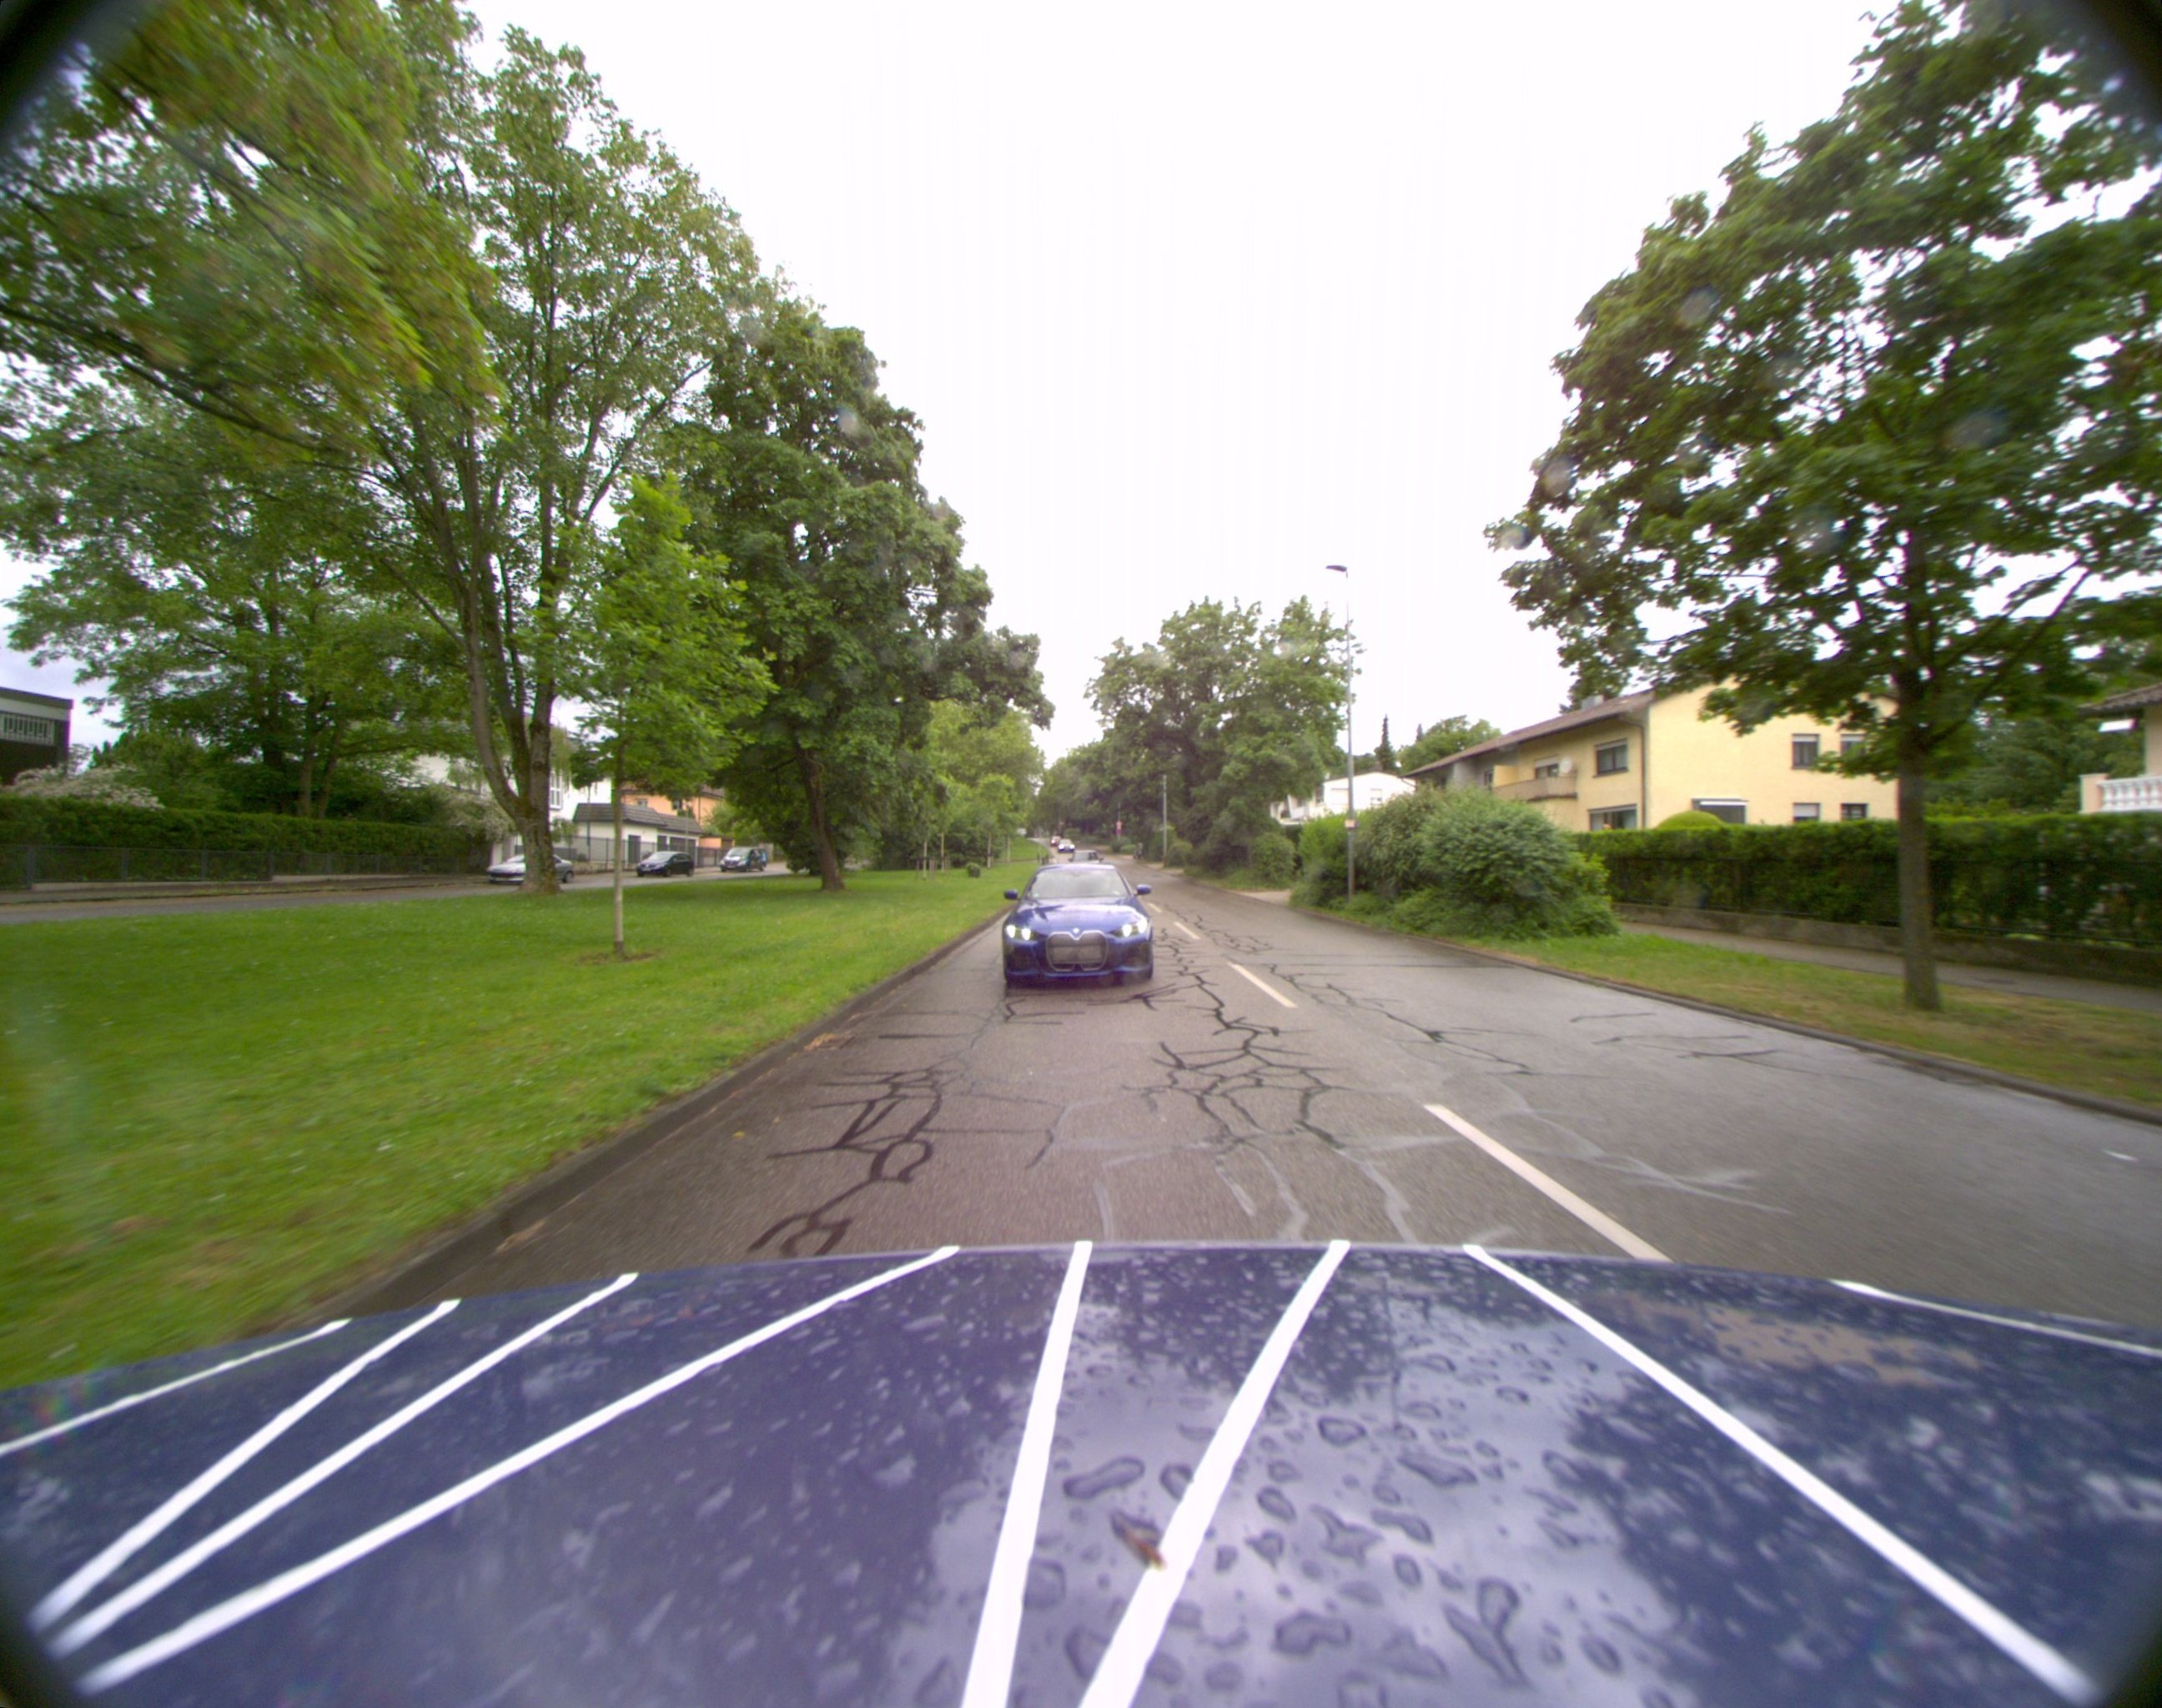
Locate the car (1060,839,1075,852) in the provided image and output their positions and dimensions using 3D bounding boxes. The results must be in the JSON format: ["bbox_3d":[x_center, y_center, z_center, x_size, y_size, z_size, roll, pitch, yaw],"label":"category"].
[{"bbox_3d":[-1.633,-1.037,93.045,1.678,1.542,3.831,1,1,1],"label":"car"}]

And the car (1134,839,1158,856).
[{"bbox_3d":[6.318,-0.671,74.504,1.668,1.533,4.281,-3,2,-4],"label":"car"}]

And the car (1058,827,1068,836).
[{"bbox_3d":[-3.305,-4.206,141.334,1.759,1.356,4.322,1,3,-2],"label":"car"}]

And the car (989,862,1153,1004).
[{"bbox_3d":[-0.043,0.911,10.786,1.796,1.459,4.510,-2,1,2],"label":"car"}]

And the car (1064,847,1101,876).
[{"bbox_3d":[0.140,0.353,40.533,1.796,1.459,4.510,0,0,2],"label":"car"}]

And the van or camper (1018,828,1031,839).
[{"bbox_3d":[-10.555,-3.890,141.758,2.000,1.858,5.658,0,3,-7],"label":"van or camper"}]

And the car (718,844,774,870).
[{"bbox_3d":[-25.408,0.183,57.834,2.165,1.868,5.067,0,1,-3],"label":"car"}]

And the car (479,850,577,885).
[{"bbox_3d":[-24.044,0.537,33.211,1.686,1.367,3.708,2,1,-2],"label":"car"}]

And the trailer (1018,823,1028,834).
[{"bbox_3d":[-11.117,-4.944,146.330,1.702,2.043,3.947,0,3,-7],"label":"trailer"}]

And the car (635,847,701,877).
[{"bbox_3d":[-24.629,0.447,45.502,1.907,1.615,4.033,0,1,-3],"label":"car"}]
